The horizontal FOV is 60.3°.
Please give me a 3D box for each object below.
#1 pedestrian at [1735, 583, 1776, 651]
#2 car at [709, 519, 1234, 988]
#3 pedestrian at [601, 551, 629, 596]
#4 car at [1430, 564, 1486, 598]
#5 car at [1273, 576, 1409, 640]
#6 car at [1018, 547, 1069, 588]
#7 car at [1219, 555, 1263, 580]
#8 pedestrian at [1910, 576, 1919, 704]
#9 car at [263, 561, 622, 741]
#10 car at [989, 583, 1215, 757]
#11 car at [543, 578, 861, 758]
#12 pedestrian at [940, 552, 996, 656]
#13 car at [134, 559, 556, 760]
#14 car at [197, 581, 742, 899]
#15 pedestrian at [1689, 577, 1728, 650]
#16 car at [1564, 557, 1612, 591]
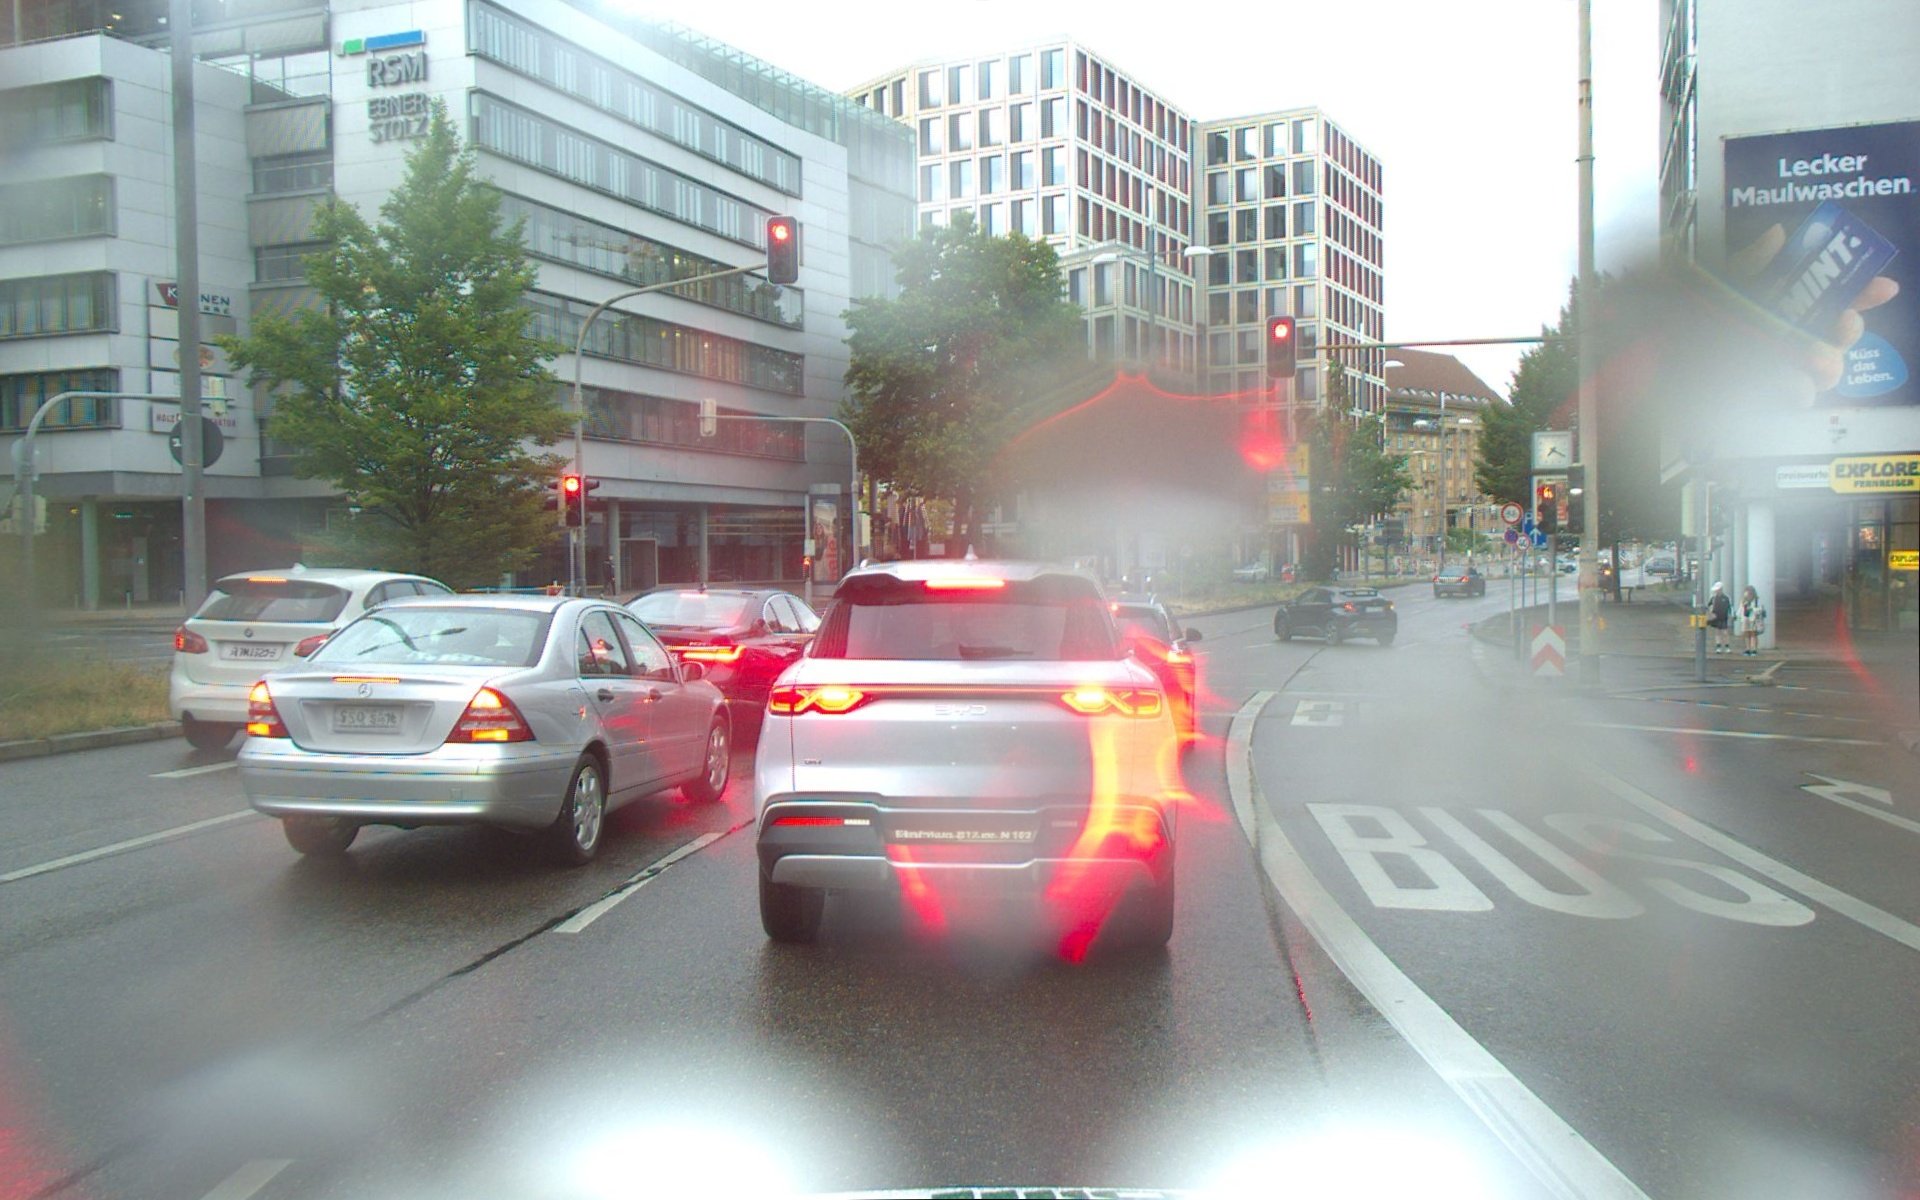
[{"bbox_3d":[18.256,0.386,37.971,0.712,1.551,0.760,0,0,15],"label":"pedestrian"},{"bbox_3d":[0.162,0.540,8.406,1.952,1.739,4.485,0,1,3],"label":"car"},{"bbox_3d":[-13.510,-1.020,64.773,0.712,1.757,0.925,0,0,21],"label":"pedestrian"},{"bbox_3d":[23.913,-0.924,79.316,1.873,1.536,4.352,2,1,26],"label":"car"},{"bbox_3d":[10.070,0.183,44.014,1.959,1.579,3.987,1,1,-13],"label":"car"},{"bbox_3d":[4.661,-1.761,91.626,1.701,2.199,4.496,1,1,18],"label":"car"},{"bbox_3d":[20.548,-2.380,120.837,1.955,1.735,4.305,1,3,27],"label":"car"},{"bbox_3d":[14.125,0.577,23.623,0.795,1.830,0.711,0,0,15],"label":"pedestrian"},{"bbox_3d":[-5.169,0.437,17.145,1.844,1.624,4.004,0,1,12],"label":"car"},{"bbox_3d":[1.586,0.607,17.052,1.913,1.556,4.004,0,1,11],"label":"car"},{"bbox_3d":[-2.407,0.569,16.528,1.913,1.556,4.004,0,1,11],"label":"car"},{"bbox_3d":[0.127,0.065,28.642,0.904,1.768,0.729,0,0,-5],"label":"pedestrian"},{"bbox_3d":[-5.496,0.446,15.443,1.745,1.601,4.292,0,1,10],"label":"car"},{"bbox_3d":[-2.667,0.650,10.100,1.646,1.512,4.200,0,1,7],"label":"car"},{"bbox_3d":[17.463,0.311,38.596,0.712,1.698,0.691,0,0,15],"label":"pedestrian"},{"bbox_3d":[34.529,-1.414,90.911,2.007,1.796,4.351,2,1,27],"label":"car"}]
